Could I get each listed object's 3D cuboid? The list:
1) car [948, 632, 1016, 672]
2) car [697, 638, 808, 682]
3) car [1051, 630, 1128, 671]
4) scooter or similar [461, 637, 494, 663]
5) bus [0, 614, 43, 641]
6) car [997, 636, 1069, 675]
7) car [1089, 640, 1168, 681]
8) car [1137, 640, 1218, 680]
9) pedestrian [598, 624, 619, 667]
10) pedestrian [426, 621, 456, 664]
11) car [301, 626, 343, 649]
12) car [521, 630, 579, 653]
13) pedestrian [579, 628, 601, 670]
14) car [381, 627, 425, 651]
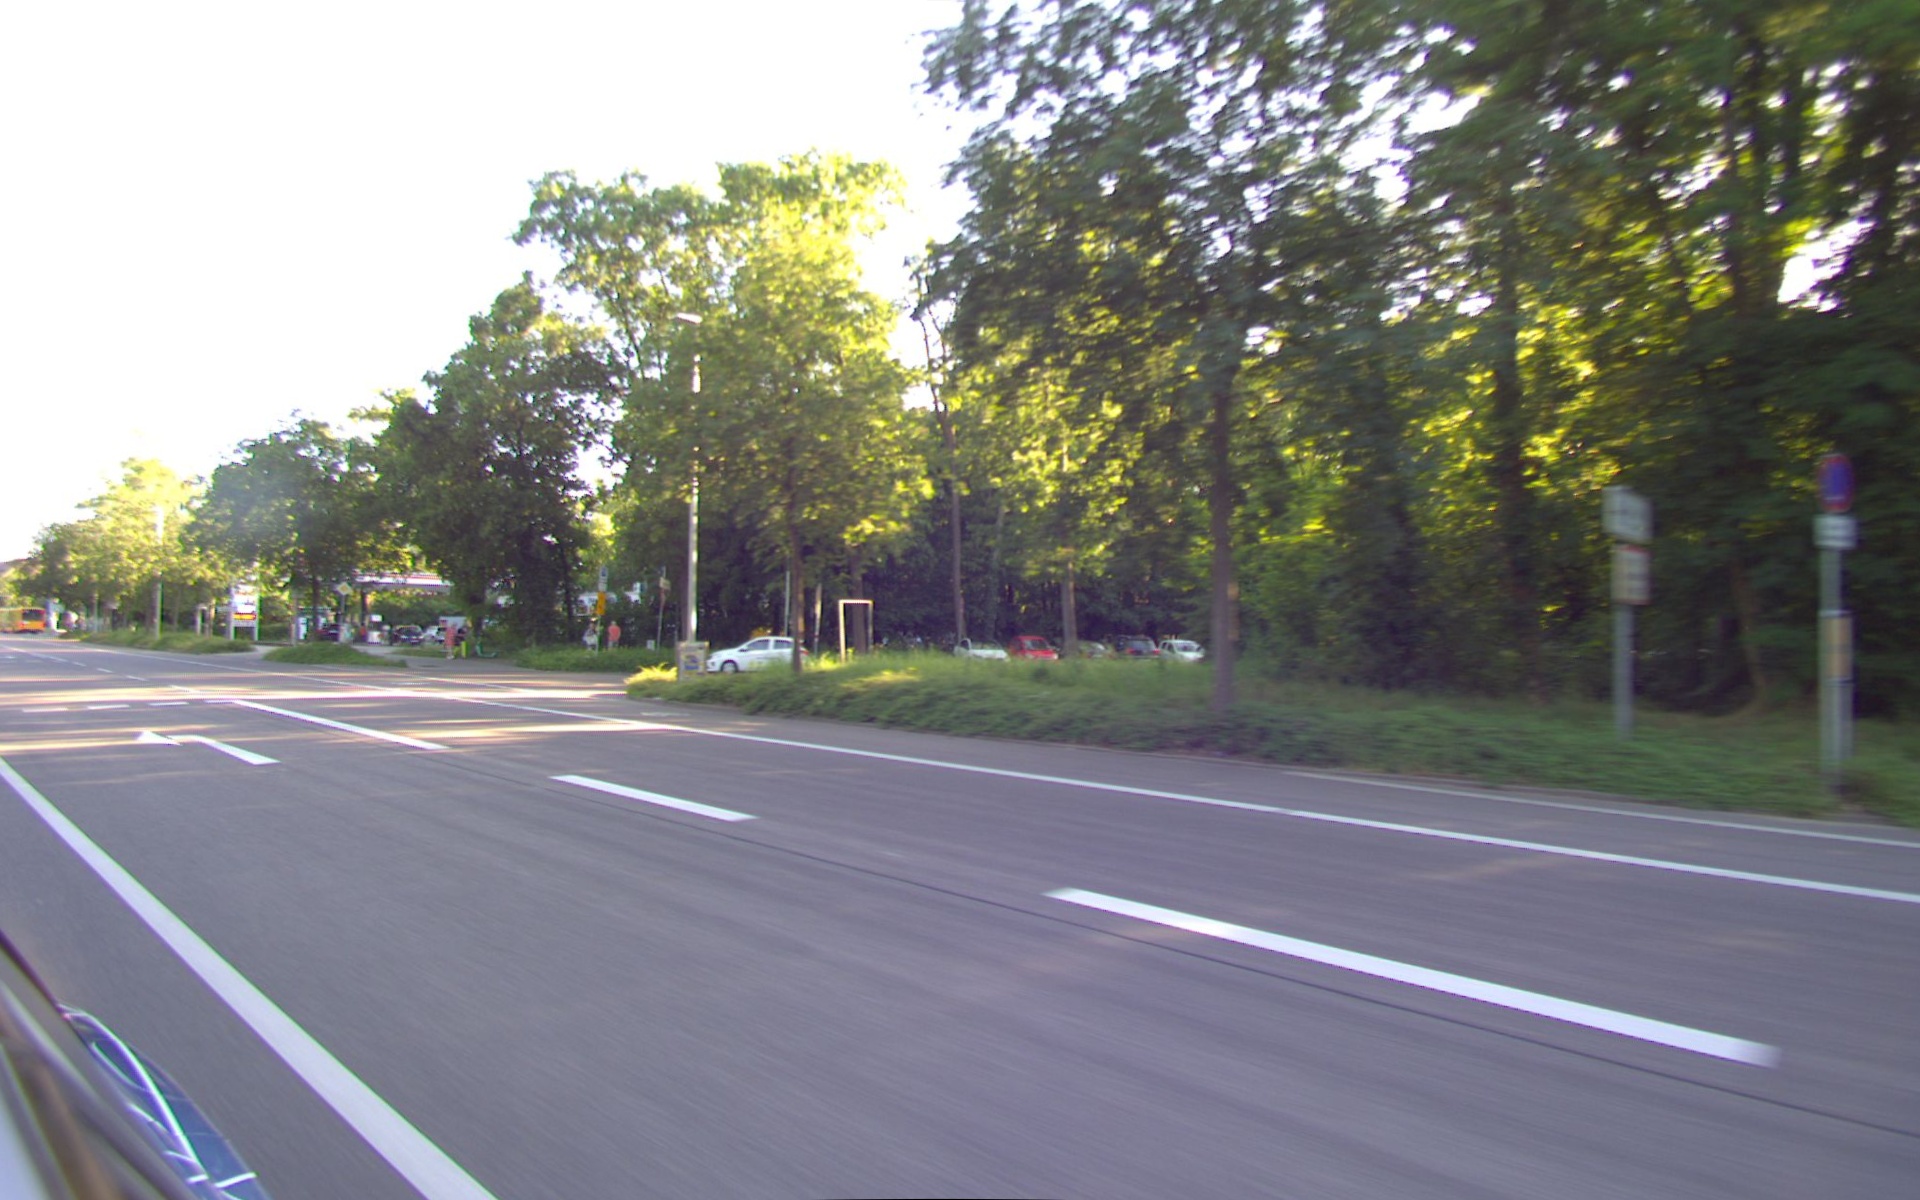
[{"bbox_3d":[0.913,2.259,44.713,1.800,1.666,4.304,1,-2,-16],"label":"car"},{"bbox_3d":[-7.680,2.209,37.319,3.877,1.537,1.836,1,-2,-15],"label":"car"},{"bbox_3d":[5.792,2.246,45.716,1.800,1.666,4.304,4,-3,-16],"label":"car"},{"bbox_3d":[-21.367,2.200,44.819,1.333,1.140,0.462,0,-2,17],"label":"scooter or similar"},{"bbox_3d":[-122.313,3.593,131.453,9.468,3.434,3.001,-1,-3,38],"label":"bus"},{"bbox_3d":[3.226,2.454,45.686,1.800,1.666,4.304,1,-2,-16],"label":"car"},{"bbox_3d":[7.675,2.752,46.401,1.800,1.666,4.304,4,-3,-16],"label":"car"},{"bbox_3d":[10.098,2.749,47.309,1.800,1.666,4.304,4,-3,-16],"label":"car"},{"bbox_3d":[-15.175,1.949,43.686,0.820,1.833,0.738,1,-2,-18],"label":"pedestrian"},{"bbox_3d":[-22.260,1.816,43.425,0.824,1.833,0.735,0,-2,6],"label":"pedestrian"},{"bbox_3d":[-46.574,2.744,73.840,3.613,1.653,1.734,-1,-3,44],"label":"car"},{"bbox_3d":[-30.045,3.021,74.200,1.759,1.653,3.561,-1,-3,42],"label":"car"},{"bbox_3d":[-16.154,2.136,44.202,0.820,1.833,0.738,1,-2,-18],"label":"pedestrian"},{"bbox_3d":[-40.522,2.830,73.537,3.839,1.653,1.734,-1,-3,44],"label":"car"}]
